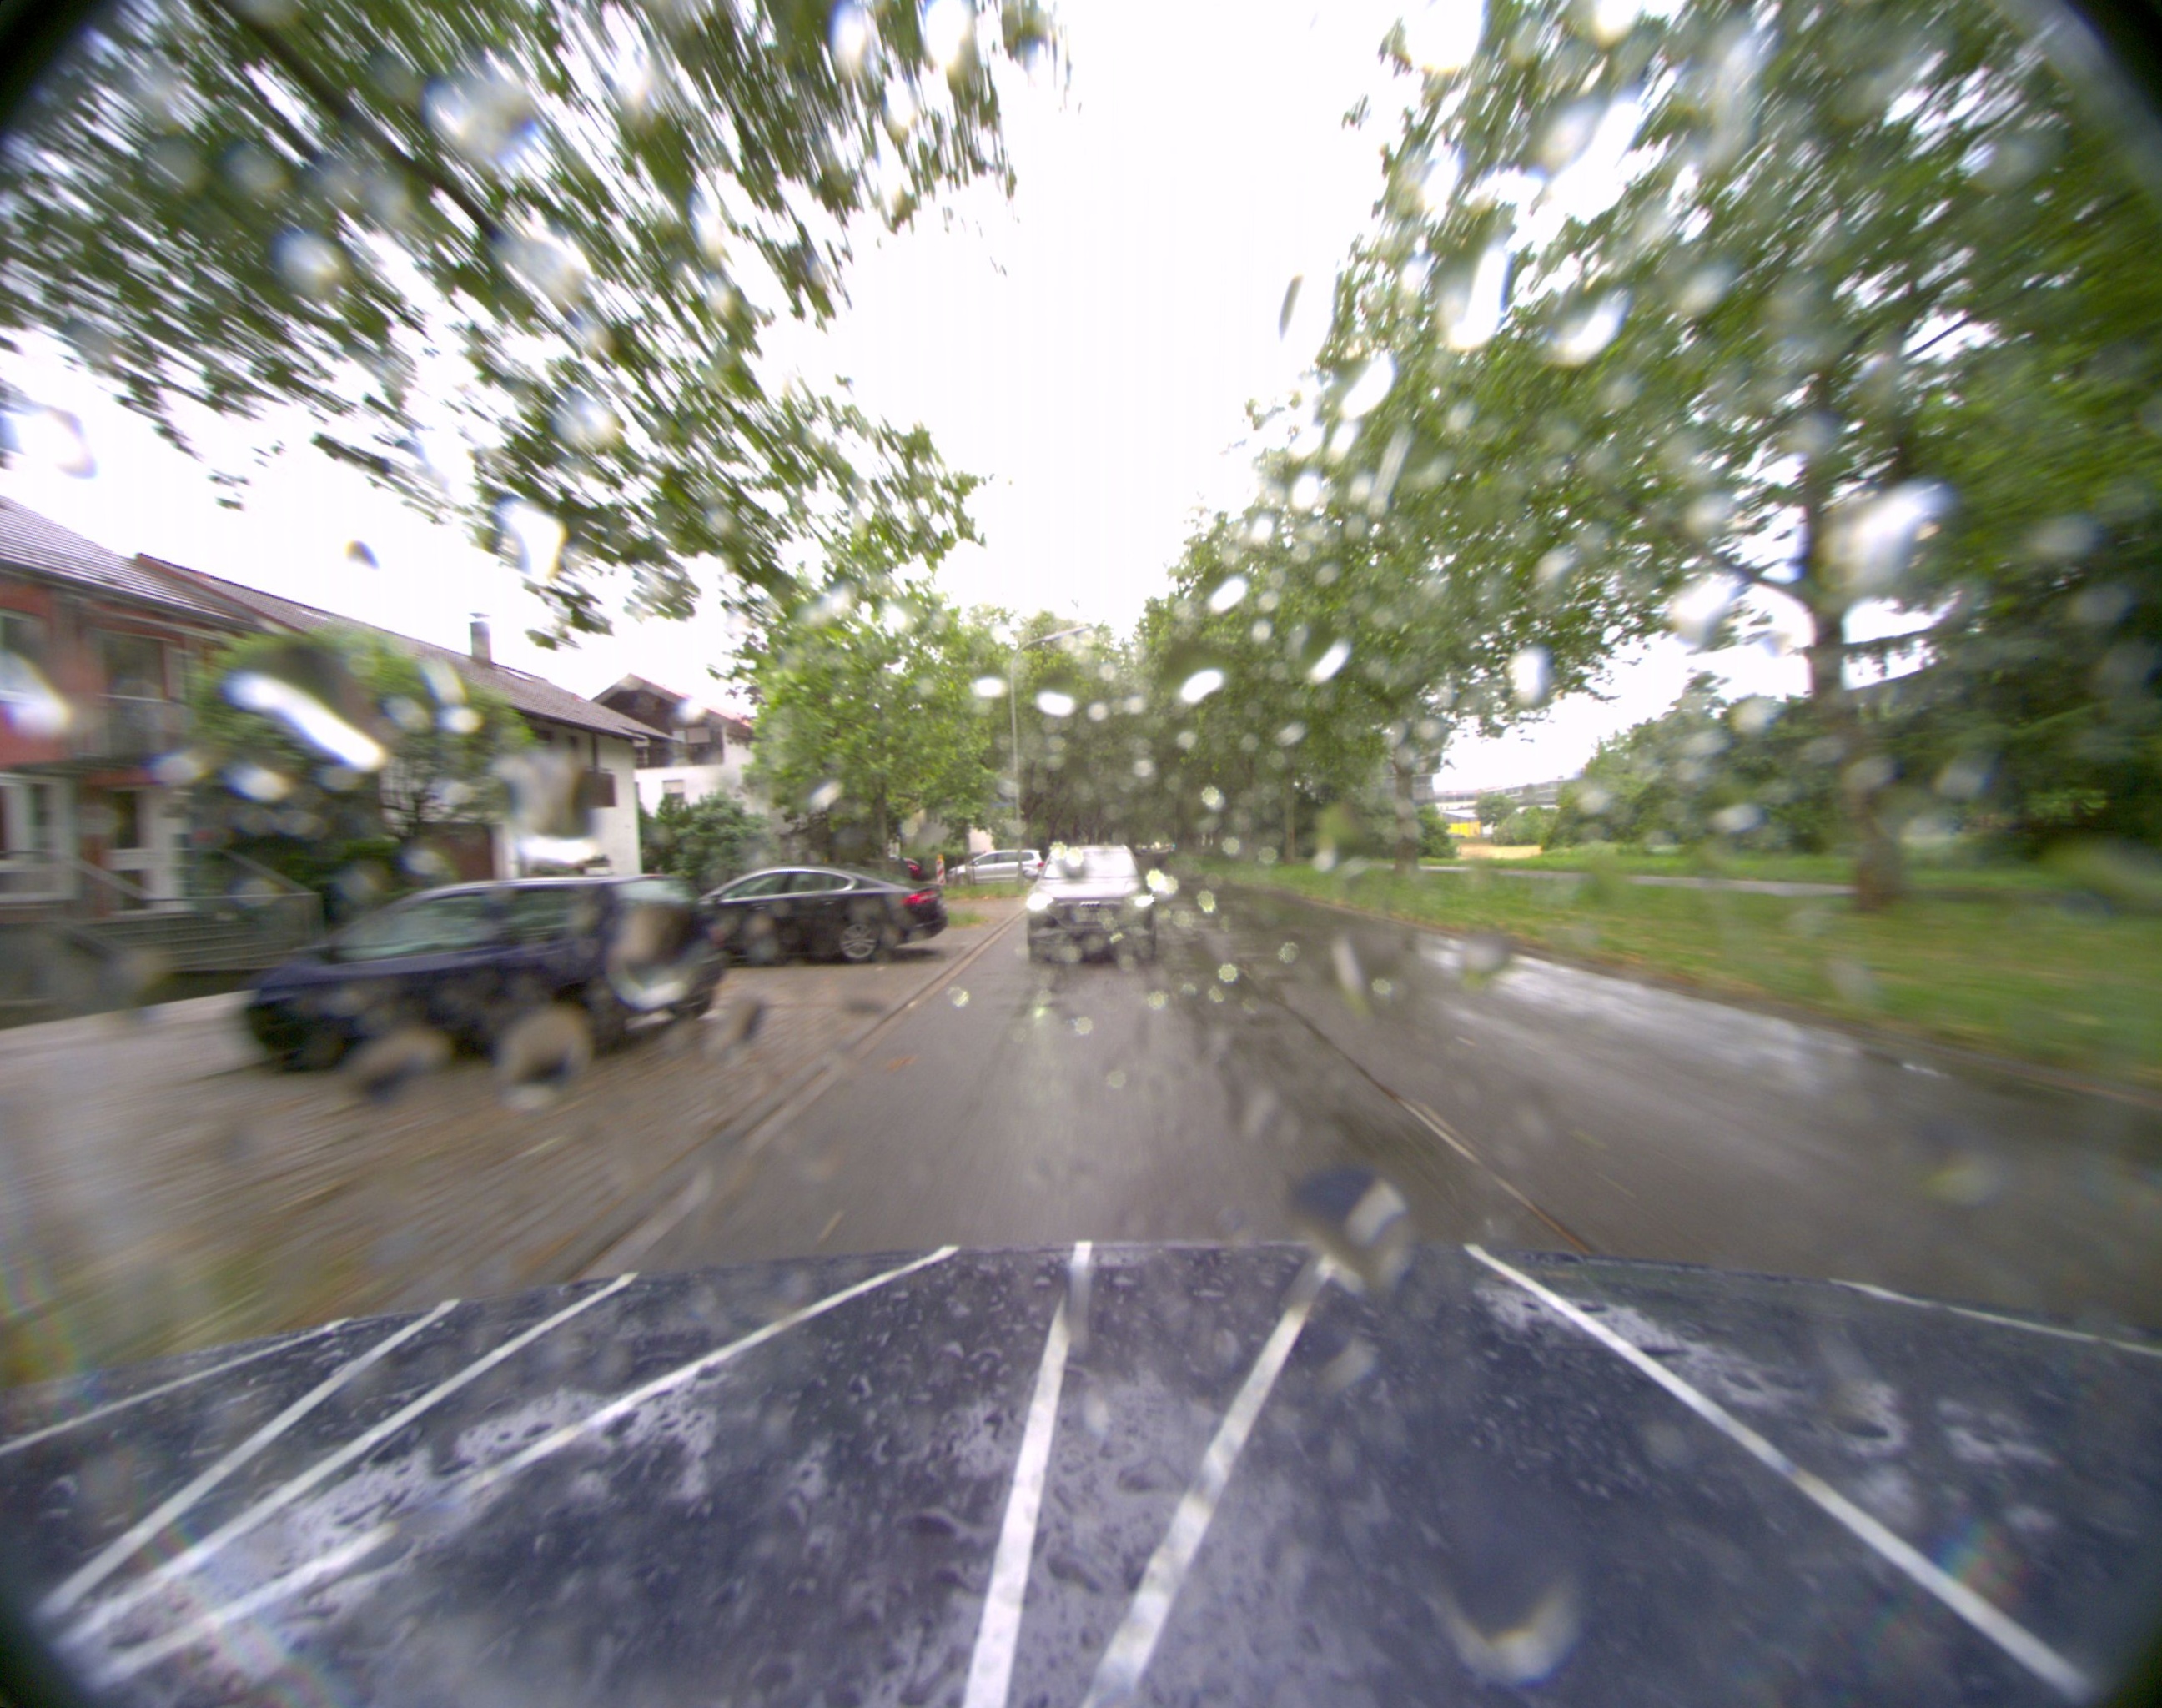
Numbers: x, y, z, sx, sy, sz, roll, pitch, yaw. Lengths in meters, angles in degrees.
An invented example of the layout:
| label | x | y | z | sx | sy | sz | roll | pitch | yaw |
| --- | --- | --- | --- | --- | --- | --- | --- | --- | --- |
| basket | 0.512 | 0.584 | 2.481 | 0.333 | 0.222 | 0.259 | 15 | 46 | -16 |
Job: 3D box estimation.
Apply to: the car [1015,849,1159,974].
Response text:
| label | x | y | z | sx | sy | sz | roll | pitch | yaw |
| --- | --- | --- | --- | --- | --- | --- | --- | --- | --- |
| car | 0.179 | 0.762 | 12.361 | 1.862 | 1.608 | 4.424 | -2 | 0 | 3 |

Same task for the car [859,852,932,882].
| label | x | y | z | sx | sy | sz | roll | pitch | yaw |
| --- | --- | --- | --- | --- | --- | --- | --- | --- | --- |
| car | -11.179 | 0.784 | 46.040 | 3.853 | 1.603 | 1.843 | -2 | 1 | 4 |

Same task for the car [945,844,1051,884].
| label | x | y | z | sx | sy | sz | roll | pitch | yaw |
| --- | --- | --- | --- | --- | --- | --- | --- | --- | --- |
| car | -3.849 | 0.447 | 35.781 | 4.700 | 1.651 | 1.976 | -2 | 1 | 0 |

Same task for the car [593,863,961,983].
| label | x | y | z | sx | sy | sz | roll | pitch | yaw |
| --- | --- | --- | --- | --- | --- | --- | --- | --- | --- |
| car | -4.379 | 0.969 | 11.590 | 4.779 | 1.464 | 1.937 | -2 | 1 | -2 |

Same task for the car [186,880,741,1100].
| label | x | y | z | sx | sy | sz | roll | pitch | yaw |
| --- | --- | --- | --- | --- | --- | --- | --- | --- | --- |
| car | -4.993 | 1.056 | 6.498 | 3.364 | 1.455 | 1.618 | -2 | 1 | 1 |
